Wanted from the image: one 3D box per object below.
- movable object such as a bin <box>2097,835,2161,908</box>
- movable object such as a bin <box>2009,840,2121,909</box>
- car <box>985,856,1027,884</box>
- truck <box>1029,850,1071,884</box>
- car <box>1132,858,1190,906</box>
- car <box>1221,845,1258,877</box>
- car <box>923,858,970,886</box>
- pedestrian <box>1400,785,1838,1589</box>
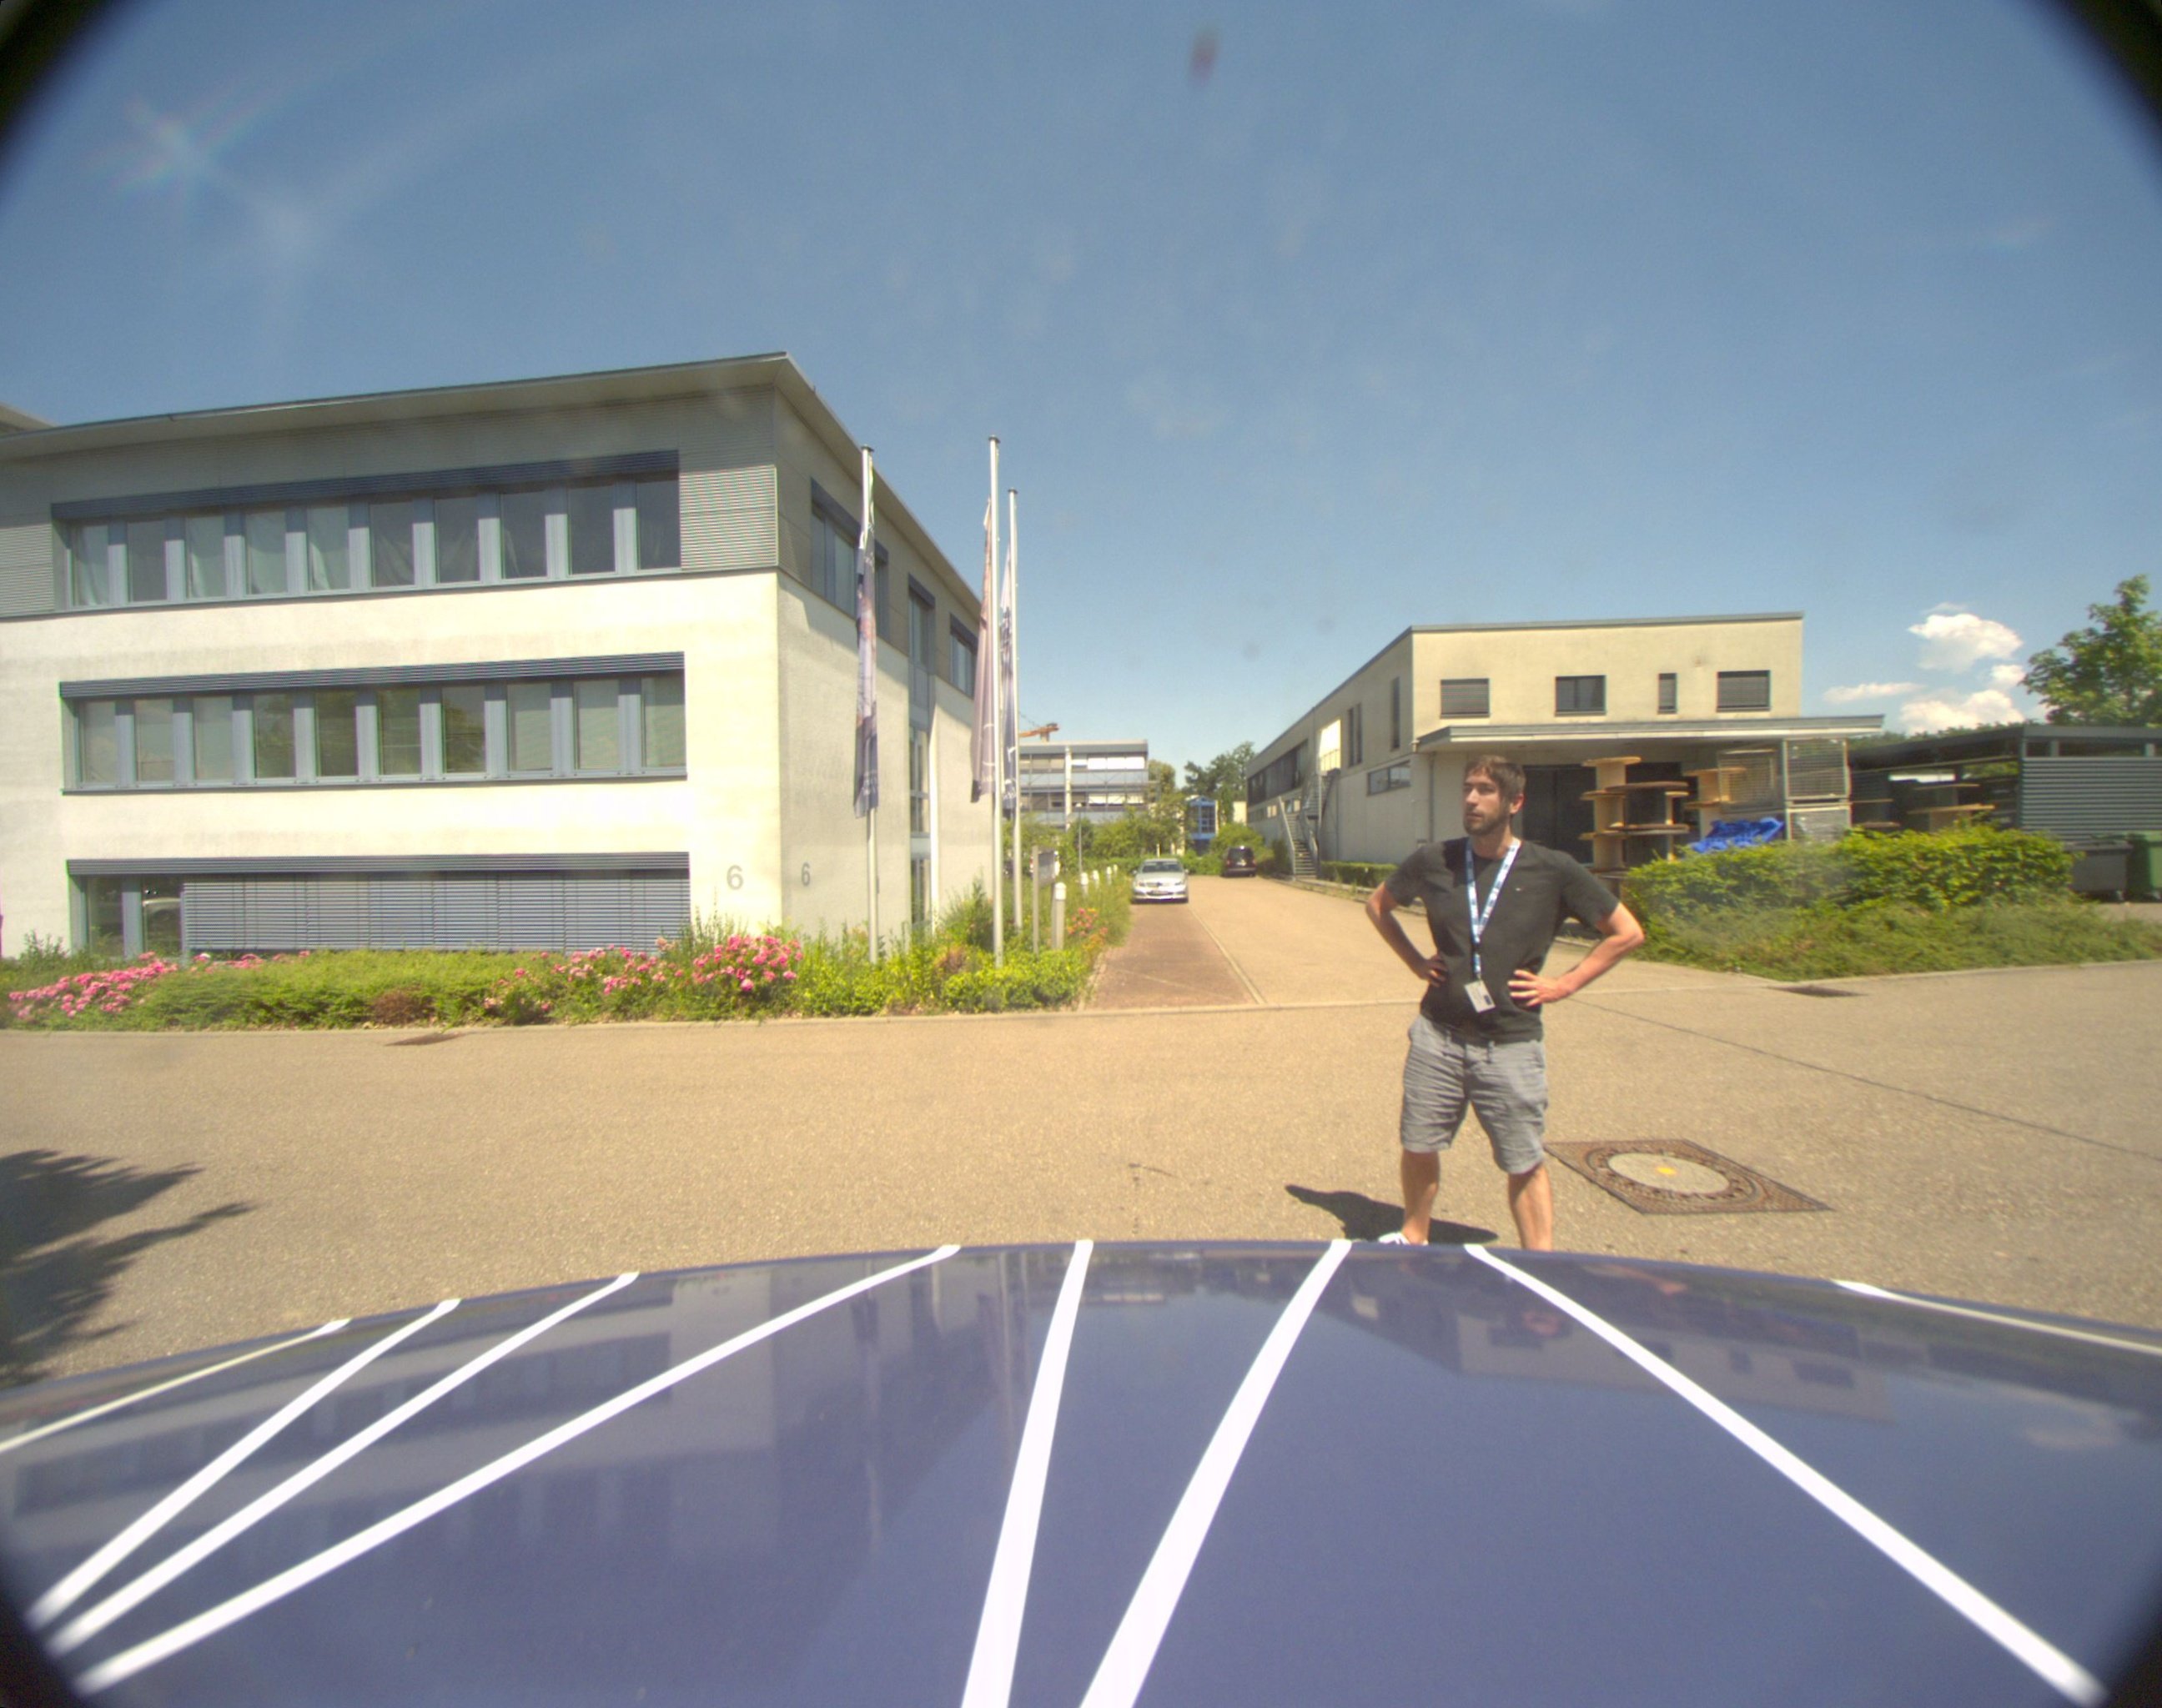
[{"bbox_3d":[20.130,0.313,14.230,1.071,1.329,0.760,-2,1,10],"label":"movable object such as a bin"},{"bbox_3d":[18.823,0.382,14.559,1.071,1.264,0.760,-2,1,10],"label":"movable object such as a bin"},{"bbox_3d":[-4.540,0.939,46.428,1.787,1.537,4.001,-2,1,5],"label":"car"},{"bbox_3d":[-1.784,0.724,45.369,1.998,1.882,4.001,-2,0,4],"label":"truck"},{"bbox_3d":[2.742,0.878,25.387,1.710,1.383,3.813,-1,1,9],"label":"car"},{"bbox_3d":[9.399,0.374,45.423,1.786,1.793,4.001,-2,1,7],"label":"car"},{"bbox_3d":[-8.200,1.073,46.807,1.787,1.537,4.001,-2,1,5],"label":"car"},{"bbox_3d":[1.459,0.757,2.285,0.858,1.809,0.906,-2,1,24],"label":"pedestrian"}]
